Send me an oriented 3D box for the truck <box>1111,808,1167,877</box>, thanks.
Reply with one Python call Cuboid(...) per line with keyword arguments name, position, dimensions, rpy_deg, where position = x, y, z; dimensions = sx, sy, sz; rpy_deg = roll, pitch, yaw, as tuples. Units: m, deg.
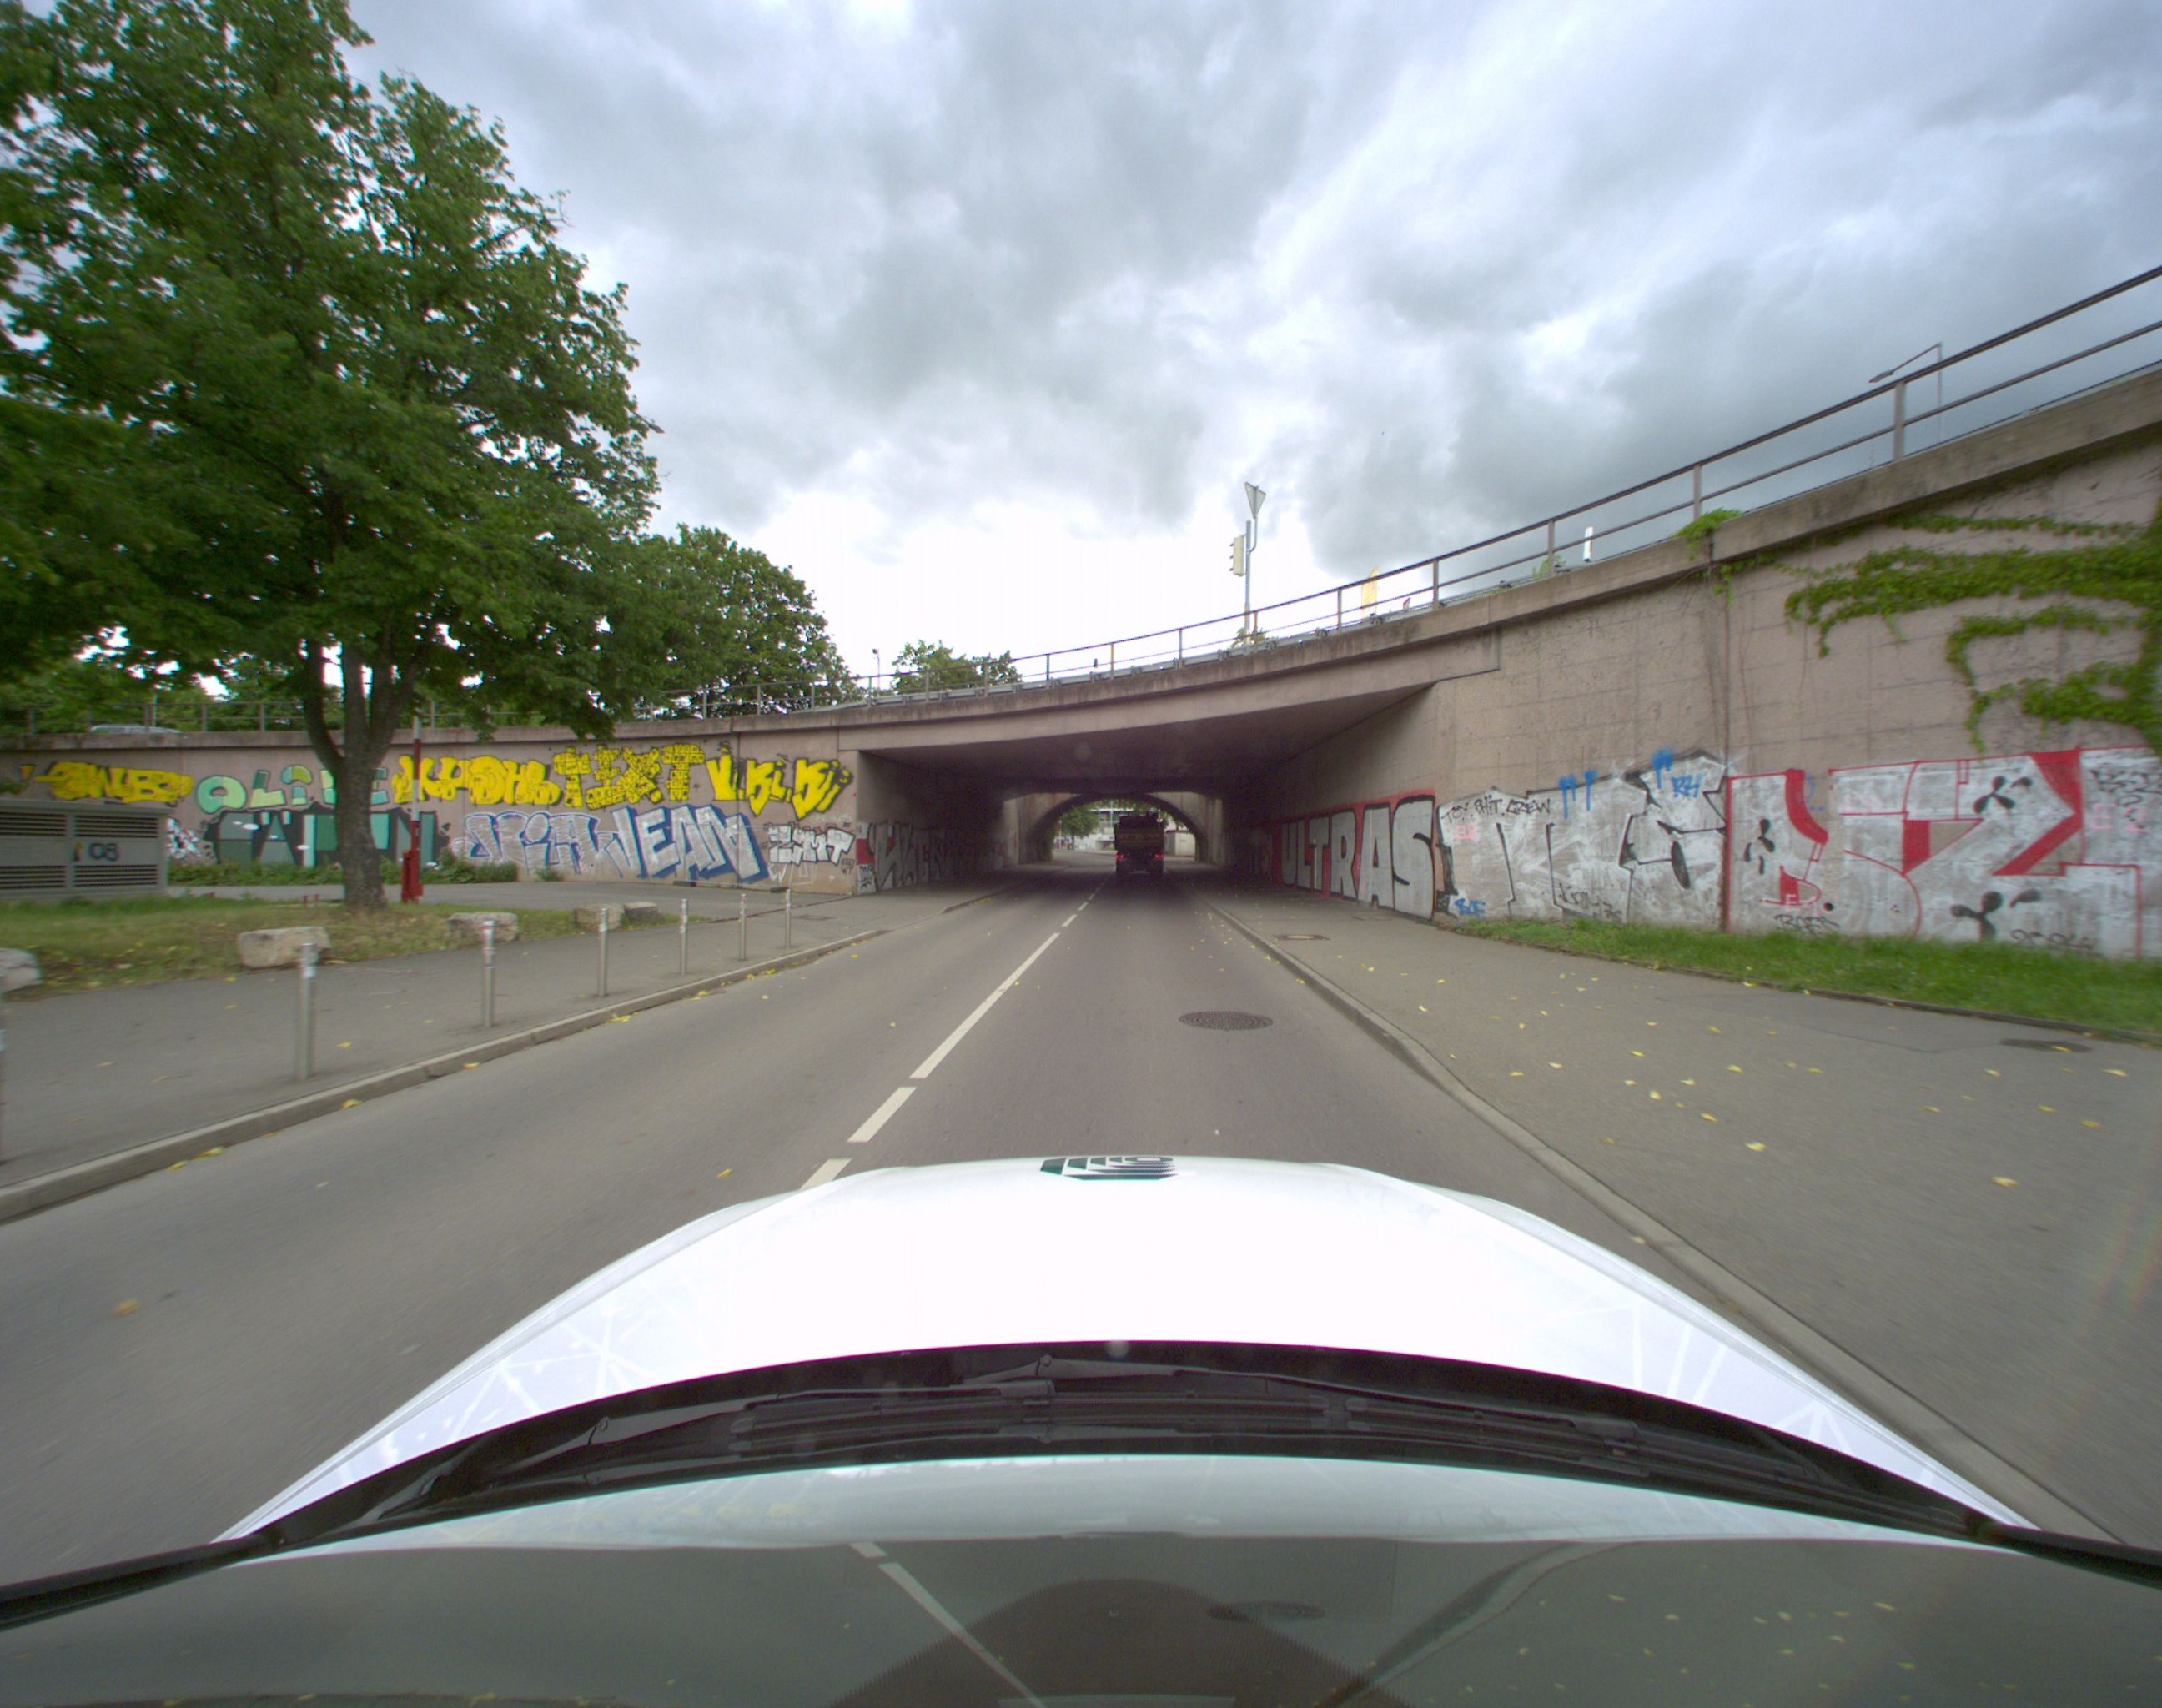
Cuboid(name="truck", position=(3.269, -0.708, 45.314), dimensions=(2.752, 3.483, 8.141), rpy_deg=(1, 2, 5))
